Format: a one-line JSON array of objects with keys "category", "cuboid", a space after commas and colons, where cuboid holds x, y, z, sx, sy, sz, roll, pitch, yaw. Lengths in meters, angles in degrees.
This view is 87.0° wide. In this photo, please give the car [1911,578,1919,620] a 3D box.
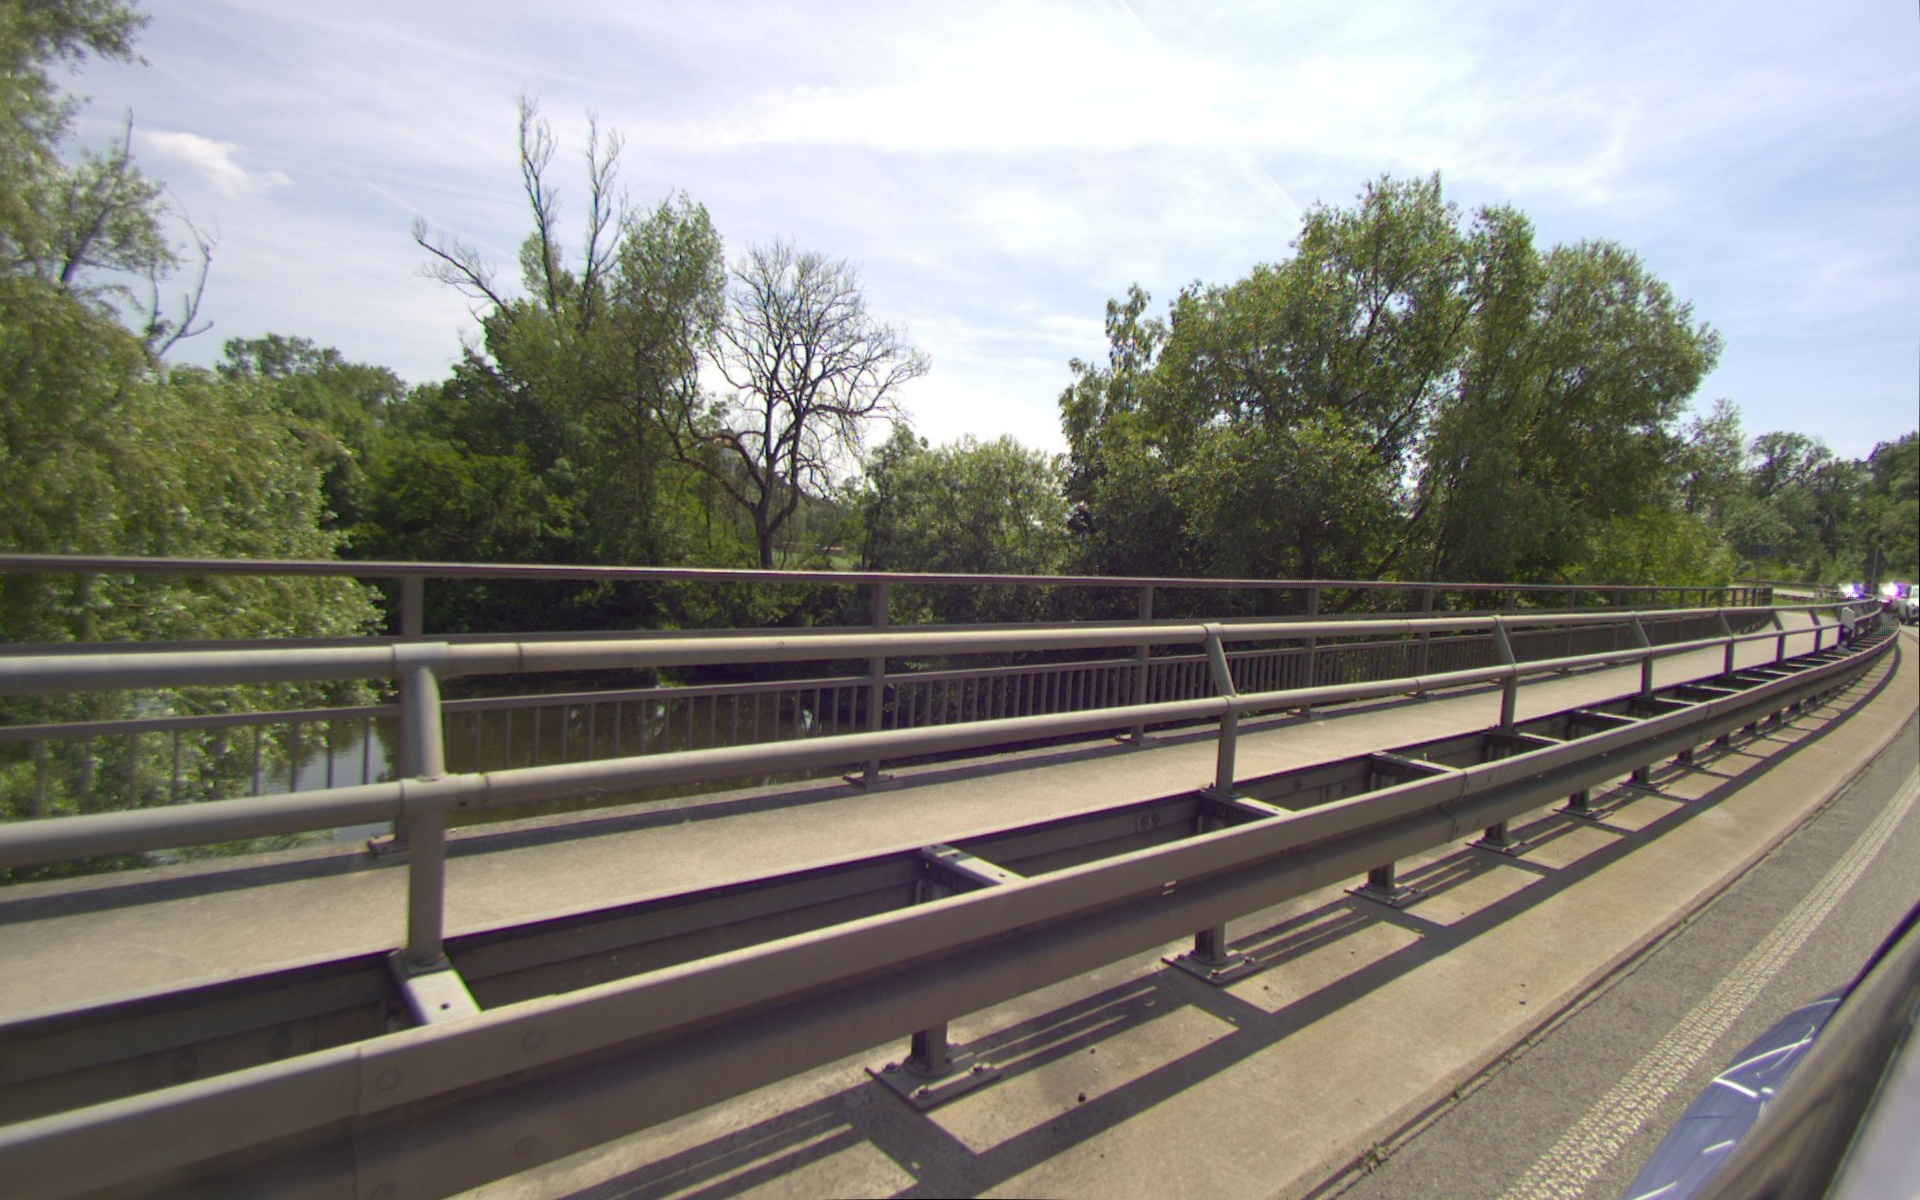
[{"category": "car", "cuboid": [39.500, -0.064, 40.433, 1.901, 1.668, 3.895, 0, 1, 39]}]

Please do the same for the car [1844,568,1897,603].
[{"category": "car", "cuboid": [55.530, -0.875, 61.784, 1.987, 2.039, 3.949, 0, 1, 36]}]

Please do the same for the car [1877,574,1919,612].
[{"category": "car", "cuboid": [46.438, -0.362, 49.393, 1.988, 1.797, 3.948, 1, 1, 36]}]
